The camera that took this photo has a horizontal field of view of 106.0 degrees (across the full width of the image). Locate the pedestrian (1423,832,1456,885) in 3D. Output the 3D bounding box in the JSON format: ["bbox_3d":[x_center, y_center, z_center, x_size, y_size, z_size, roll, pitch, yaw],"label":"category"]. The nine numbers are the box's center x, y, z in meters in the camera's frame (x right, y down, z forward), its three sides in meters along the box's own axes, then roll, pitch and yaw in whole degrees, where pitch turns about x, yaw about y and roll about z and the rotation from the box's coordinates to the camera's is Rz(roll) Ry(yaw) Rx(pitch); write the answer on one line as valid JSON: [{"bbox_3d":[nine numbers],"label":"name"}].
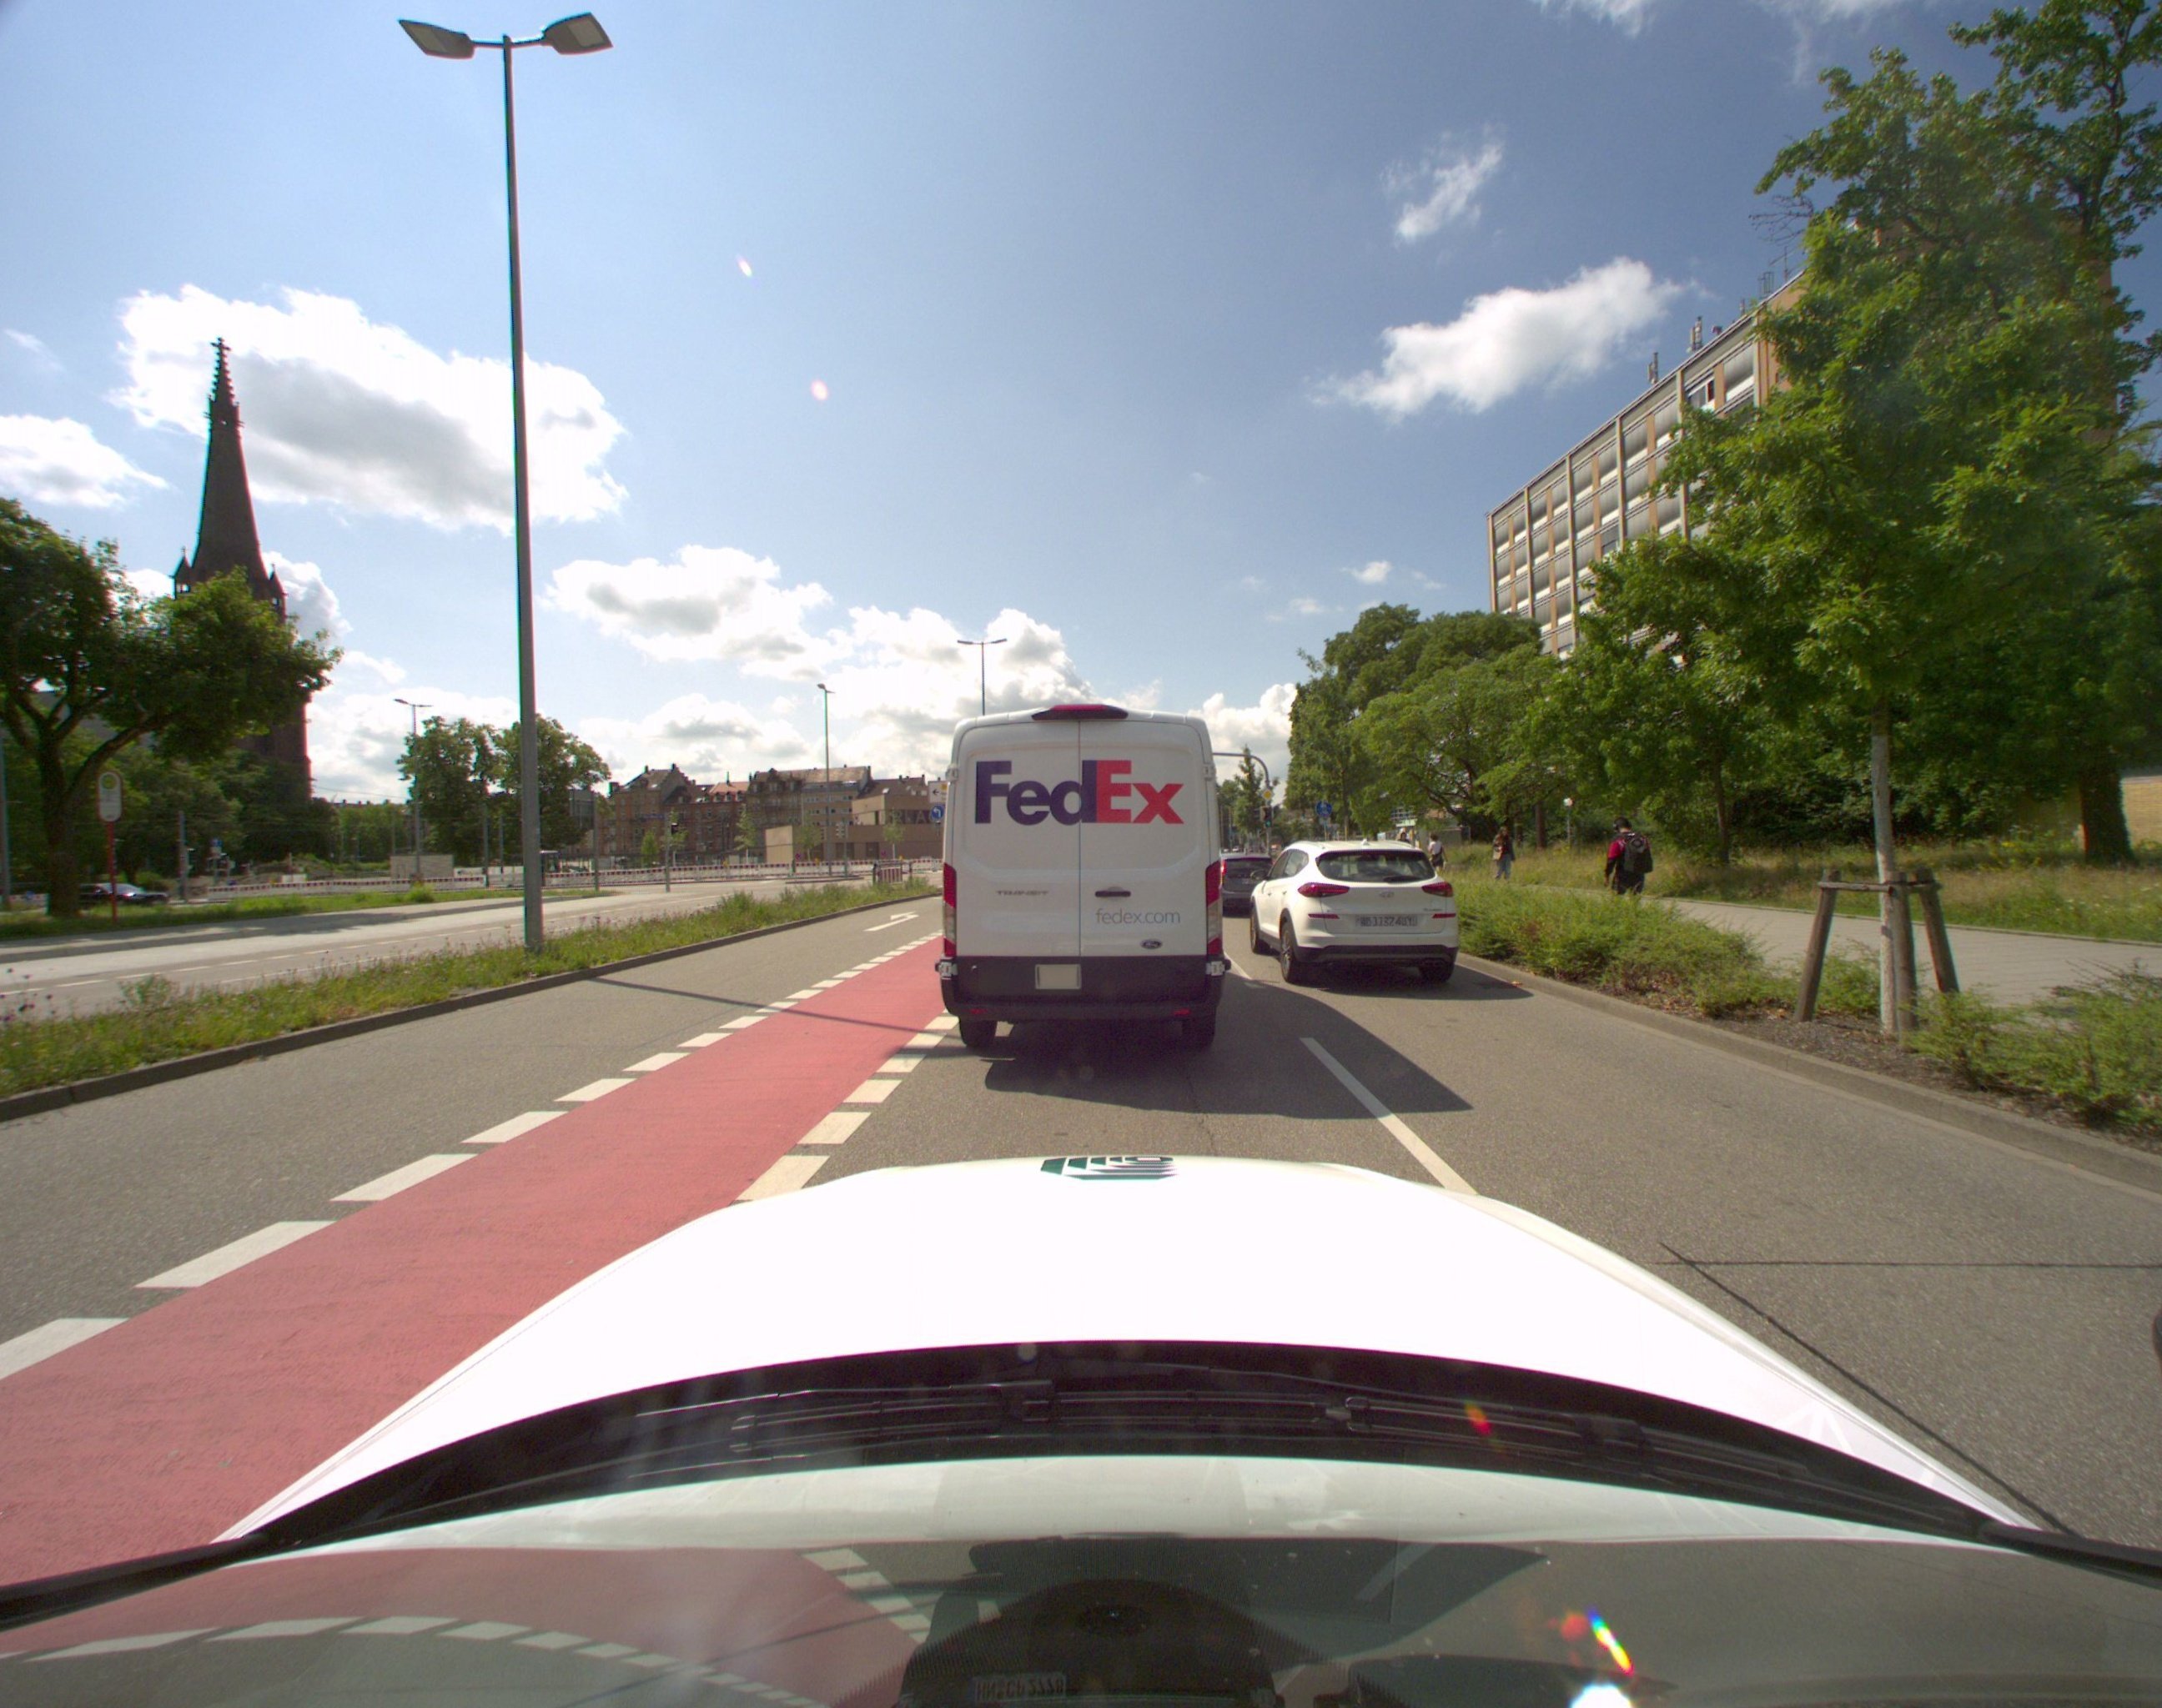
[{"bbox_3d":[11.233,0.142,25.526,0.664,1.596,0.648,-3,0,1],"label":"pedestrian"}]

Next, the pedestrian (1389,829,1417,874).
[{"bbox_3d":[12.963,-0.086,32.791,0.747,1.750,0.667,-3,0,-1],"label":"pedestrian"}]

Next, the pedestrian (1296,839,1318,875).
[{"bbox_3d":[11.353,0.149,40.933,0.748,1.777,0.880,-3,0,-4],"label":"pedestrian"}]

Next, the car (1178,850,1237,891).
[{"bbox_3d":[4.880,0.603,31.762,1.906,1.420,3.922,-2,0,4],"label":"car"}]

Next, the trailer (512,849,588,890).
[{"bbox_3d":[-39.612,1.146,60.836,1.974,2.914,4.393,-1,-1,38],"label":"trailer"}]

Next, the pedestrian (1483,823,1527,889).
[{"bbox_3d":[11.650,0.047,22.402,0.664,1.750,0.878,-3,0,1],"label":"pedestrian"}]

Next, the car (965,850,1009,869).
[{"bbox_3d":[-8.070,0.474,70.099,1.975,1.508,4.040,-1,-1,25],"label":"car"}]

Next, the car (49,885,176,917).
[{"bbox_3d":[-52.801,2.552,44.468,4.480,1.486,2.001,-2,0,1],"label":"car"}]

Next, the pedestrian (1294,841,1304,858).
[{"bbox_3d":[20.758,-0.442,77.555,0.752,1.589,0.762,0,-1,4],"label":"pedestrian"}]

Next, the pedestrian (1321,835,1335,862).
[{"bbox_3d":[16.911,-0.380,55.861,0.745,1.802,0.611,-3,0,8],"label":"pedestrian"}]

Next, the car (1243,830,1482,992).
[{"bbox_3d":[3.360,0.583,10.648,1.873,1.641,4.237,-2,0,4],"label":"car"}]

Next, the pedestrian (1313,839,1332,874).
[{"bbox_3d":[12.198,0.113,41.150,0.665,1.746,0.608,-3,0,-4],"label":"pedestrian"}]

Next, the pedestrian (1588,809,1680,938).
[{"bbox_3d":[7.867,0.266,11.629,0.664,1.750,0.848,-3,0,1],"label":"pedestrian"}]

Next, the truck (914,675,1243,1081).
[{"bbox_3d":[0.075,0.157,8.302,2.129,2.640,5.920,-1,0,2],"label":"truck"}]

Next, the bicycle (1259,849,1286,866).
[{"bbox_3d":[13.792,0.241,58.626,1.799,1.050,0.593,-4,-2,8],"label":"bicycle"}]

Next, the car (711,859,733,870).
[{"bbox_3d":[-80.689,2.384,183.143,4.084,2.343,2.004,0,-1,8],"label":"car"}]

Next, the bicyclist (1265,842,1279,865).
[{"bbox_3d":[13.717,-0.038,58.643,0.823,1.601,0.581,-4,-2,9],"label":"bicyclist"}]

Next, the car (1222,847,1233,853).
[{"bbox_3d":[38.538,-1.100,214.225,1.976,1.574,4.201,-1,-1,23],"label":"car"}]

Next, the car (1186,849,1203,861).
[{"bbox_3d":[19.258,0.123,138.406,1.977,2.014,4.143,-1,-1,19],"label":"car"}]

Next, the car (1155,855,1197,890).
[{"bbox_3d":[4.621,0.845,39.200,1.871,1.506,4.165,-1,0,8],"label":"car"}]

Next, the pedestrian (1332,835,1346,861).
[{"bbox_3d":[17.726,-0.399,56.051,0.745,1.752,0.611,-3,0,8],"label":"pedestrian"}]

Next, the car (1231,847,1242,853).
[{"bbox_3d":[40.609,-1.125,212.995,1.976,1.574,4.201,-1,-1,23],"label":"car"}]

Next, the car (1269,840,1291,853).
[{"bbox_3d":[25.620,-0.998,105.006,1.863,1.641,3.981,-2,0,27],"label":"car"}]

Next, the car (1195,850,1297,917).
[{"bbox_3d":[3.909,0.644,19.900,1.906,1.420,3.922,-2,0,4],"label":"car"}]
